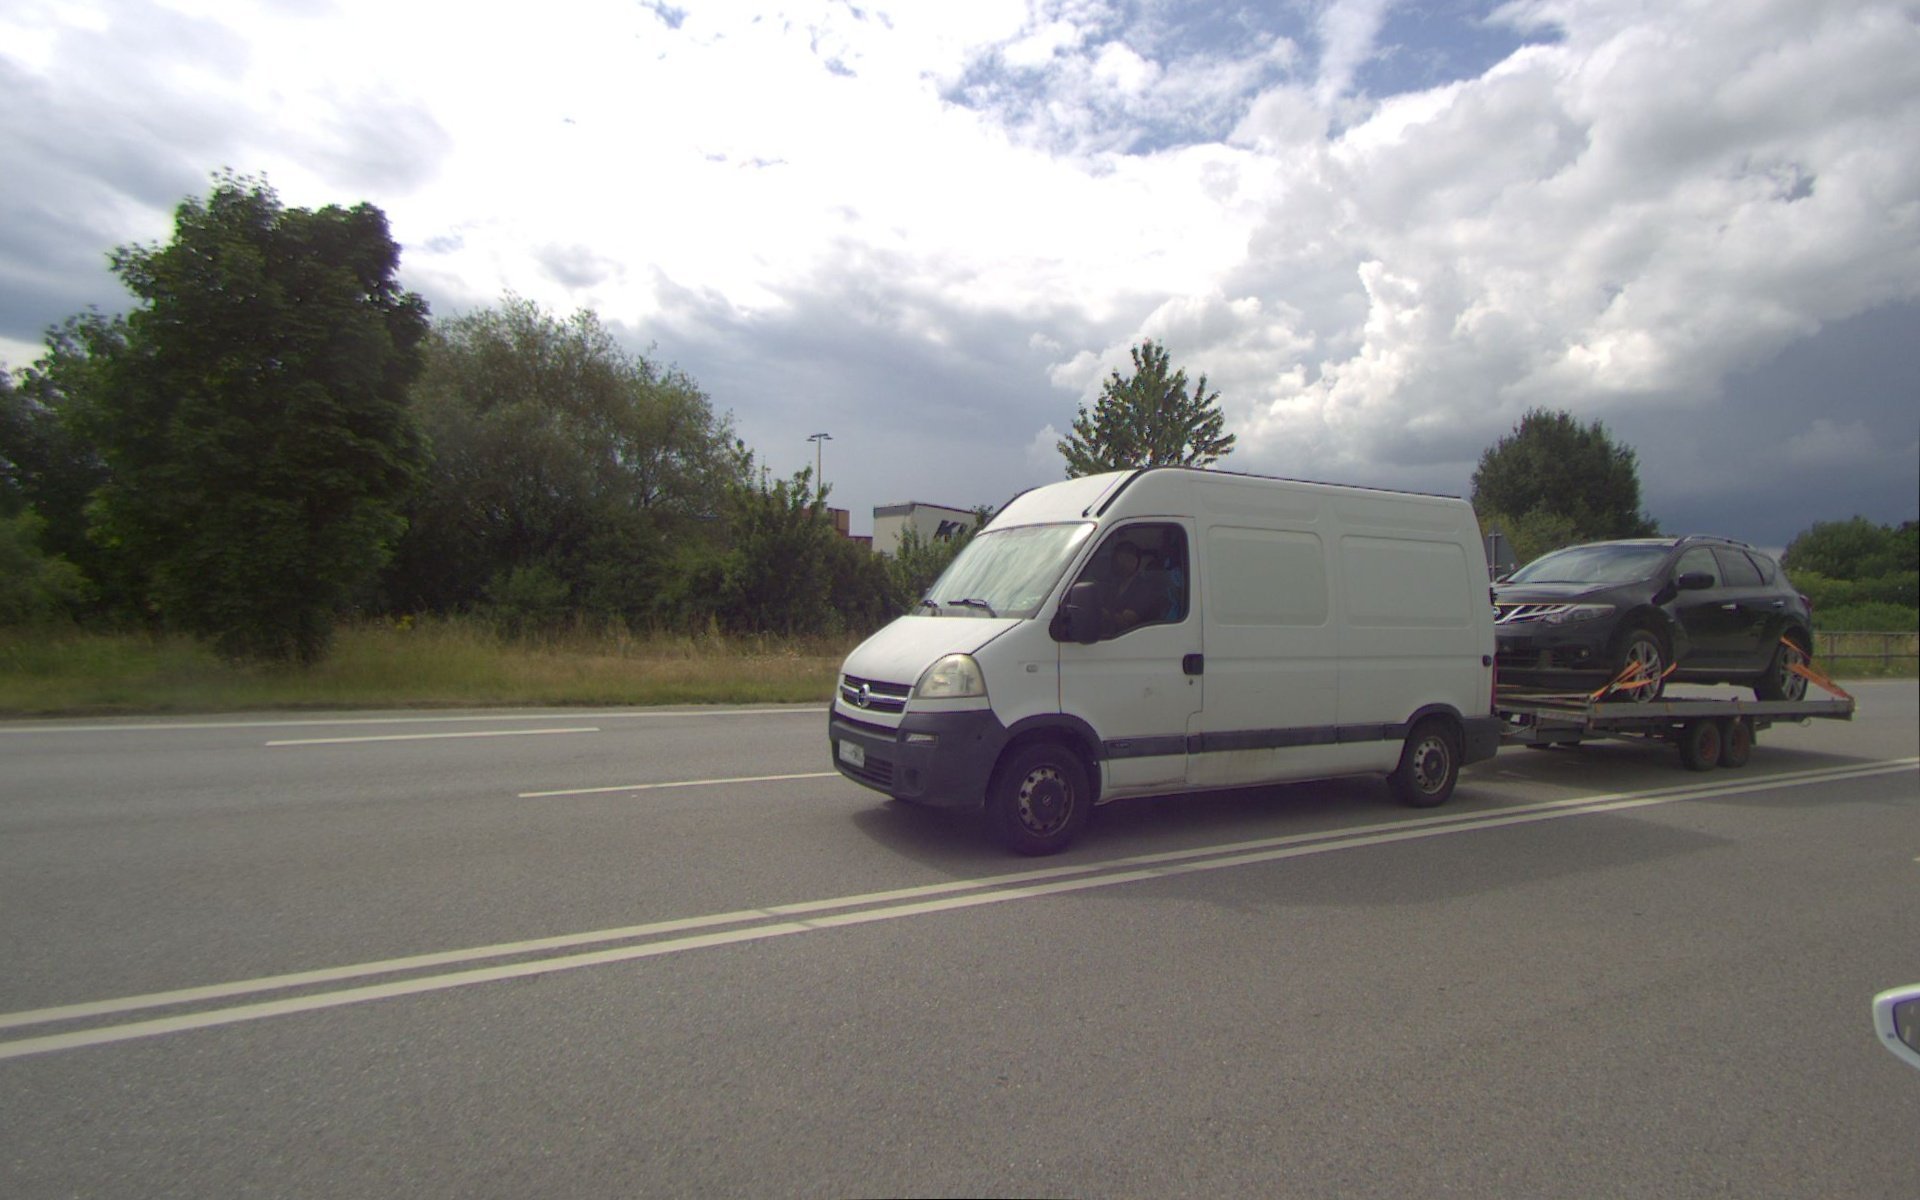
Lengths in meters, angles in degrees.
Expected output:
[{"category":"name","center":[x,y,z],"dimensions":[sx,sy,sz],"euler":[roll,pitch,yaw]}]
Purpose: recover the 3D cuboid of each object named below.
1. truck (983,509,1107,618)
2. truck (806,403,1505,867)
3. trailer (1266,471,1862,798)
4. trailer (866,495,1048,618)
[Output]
[{"category":"truck","center":[4.295,-1.692,49.817],"dimensions":[2.766,5.063,6.152],"euler":[2,1,44]},{"category":"truck","center":[1.566,0.214,7.469],"dimensions":[4.964,2.477,2.014],"euler":[1,1,-29]},{"category":"trailer","center":[6.364,0.306,10.193],"dimensions":[6.882,2.477,2.014],"euler":[1,1,-29]},{"category":"trailer","center":[0.062,-1.756,45.418],"dimensions":[2.769,5.063,8.929],"euler":[2,1,44]}]
